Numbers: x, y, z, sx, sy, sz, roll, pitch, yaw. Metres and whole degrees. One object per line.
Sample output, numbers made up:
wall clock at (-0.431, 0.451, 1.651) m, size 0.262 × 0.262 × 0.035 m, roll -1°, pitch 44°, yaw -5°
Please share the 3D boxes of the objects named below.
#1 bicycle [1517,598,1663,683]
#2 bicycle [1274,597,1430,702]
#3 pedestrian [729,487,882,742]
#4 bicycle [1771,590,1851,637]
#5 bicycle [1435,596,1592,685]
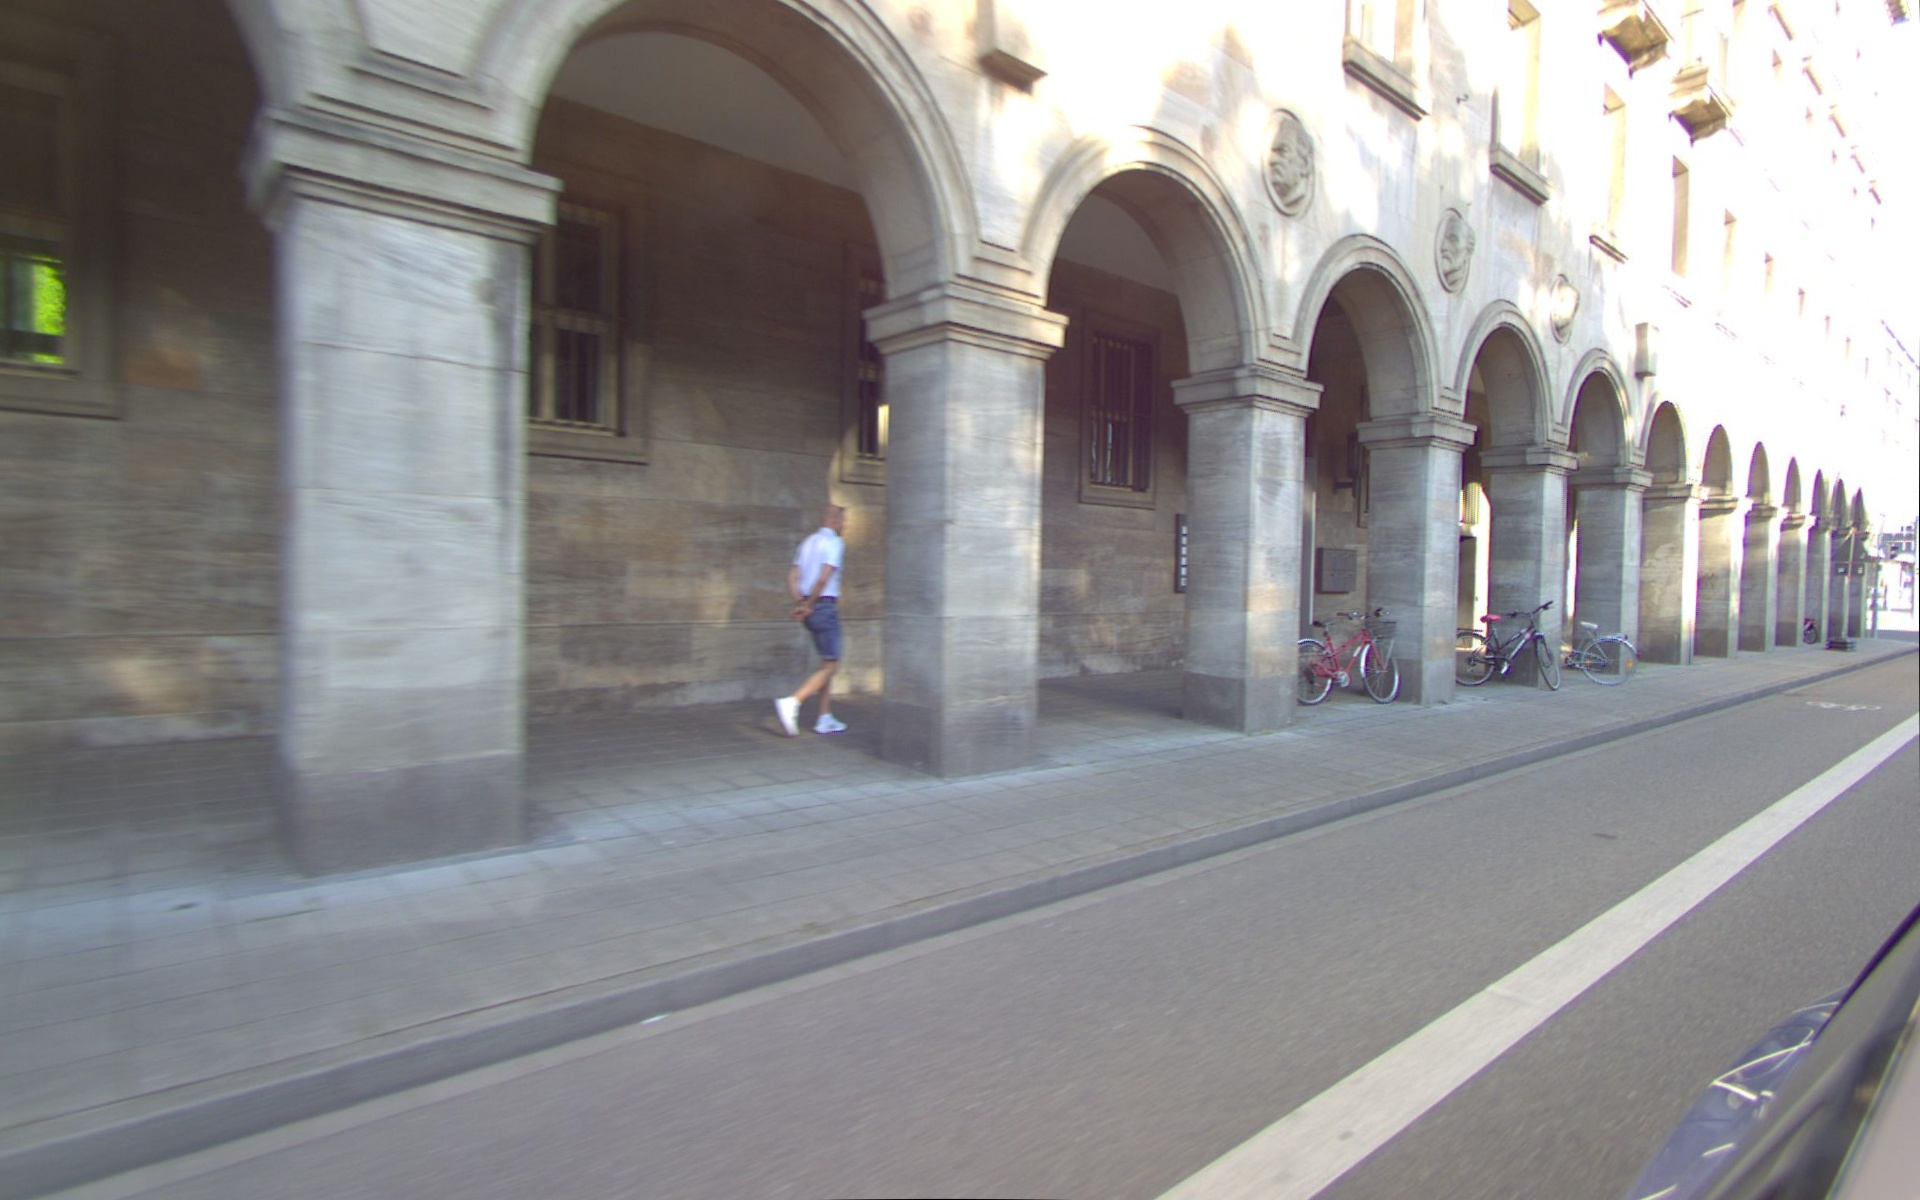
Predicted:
bicycle at (9.048, 0.552, 14.568) m, size 1.703 × 1.063 × 0.521 m, roll 4°, pitch 3°, yaw 36°
bicycle at (4.298, 0.532, 11.078) m, size 1.677 × 1.063 × 0.473 m, roll 1°, pitch 3°, yaw -22°
pedestrian at (-1.205, 0.088, 7.903) m, size 0.948 × 1.855 × 0.630 m, roll 0°, pitch 3°, yaw -41°
bicycle at (23.289, 0.356, 27.744) m, size 0.651 × 1.147 × 1.714 m, roll 2°, pitch 3°, yaw -1°
bicycle at (7.390, 0.527, 13.567) m, size 1.682 × 1.063 × 0.612 m, roll 2°, pitch 2°, yaw 3°
